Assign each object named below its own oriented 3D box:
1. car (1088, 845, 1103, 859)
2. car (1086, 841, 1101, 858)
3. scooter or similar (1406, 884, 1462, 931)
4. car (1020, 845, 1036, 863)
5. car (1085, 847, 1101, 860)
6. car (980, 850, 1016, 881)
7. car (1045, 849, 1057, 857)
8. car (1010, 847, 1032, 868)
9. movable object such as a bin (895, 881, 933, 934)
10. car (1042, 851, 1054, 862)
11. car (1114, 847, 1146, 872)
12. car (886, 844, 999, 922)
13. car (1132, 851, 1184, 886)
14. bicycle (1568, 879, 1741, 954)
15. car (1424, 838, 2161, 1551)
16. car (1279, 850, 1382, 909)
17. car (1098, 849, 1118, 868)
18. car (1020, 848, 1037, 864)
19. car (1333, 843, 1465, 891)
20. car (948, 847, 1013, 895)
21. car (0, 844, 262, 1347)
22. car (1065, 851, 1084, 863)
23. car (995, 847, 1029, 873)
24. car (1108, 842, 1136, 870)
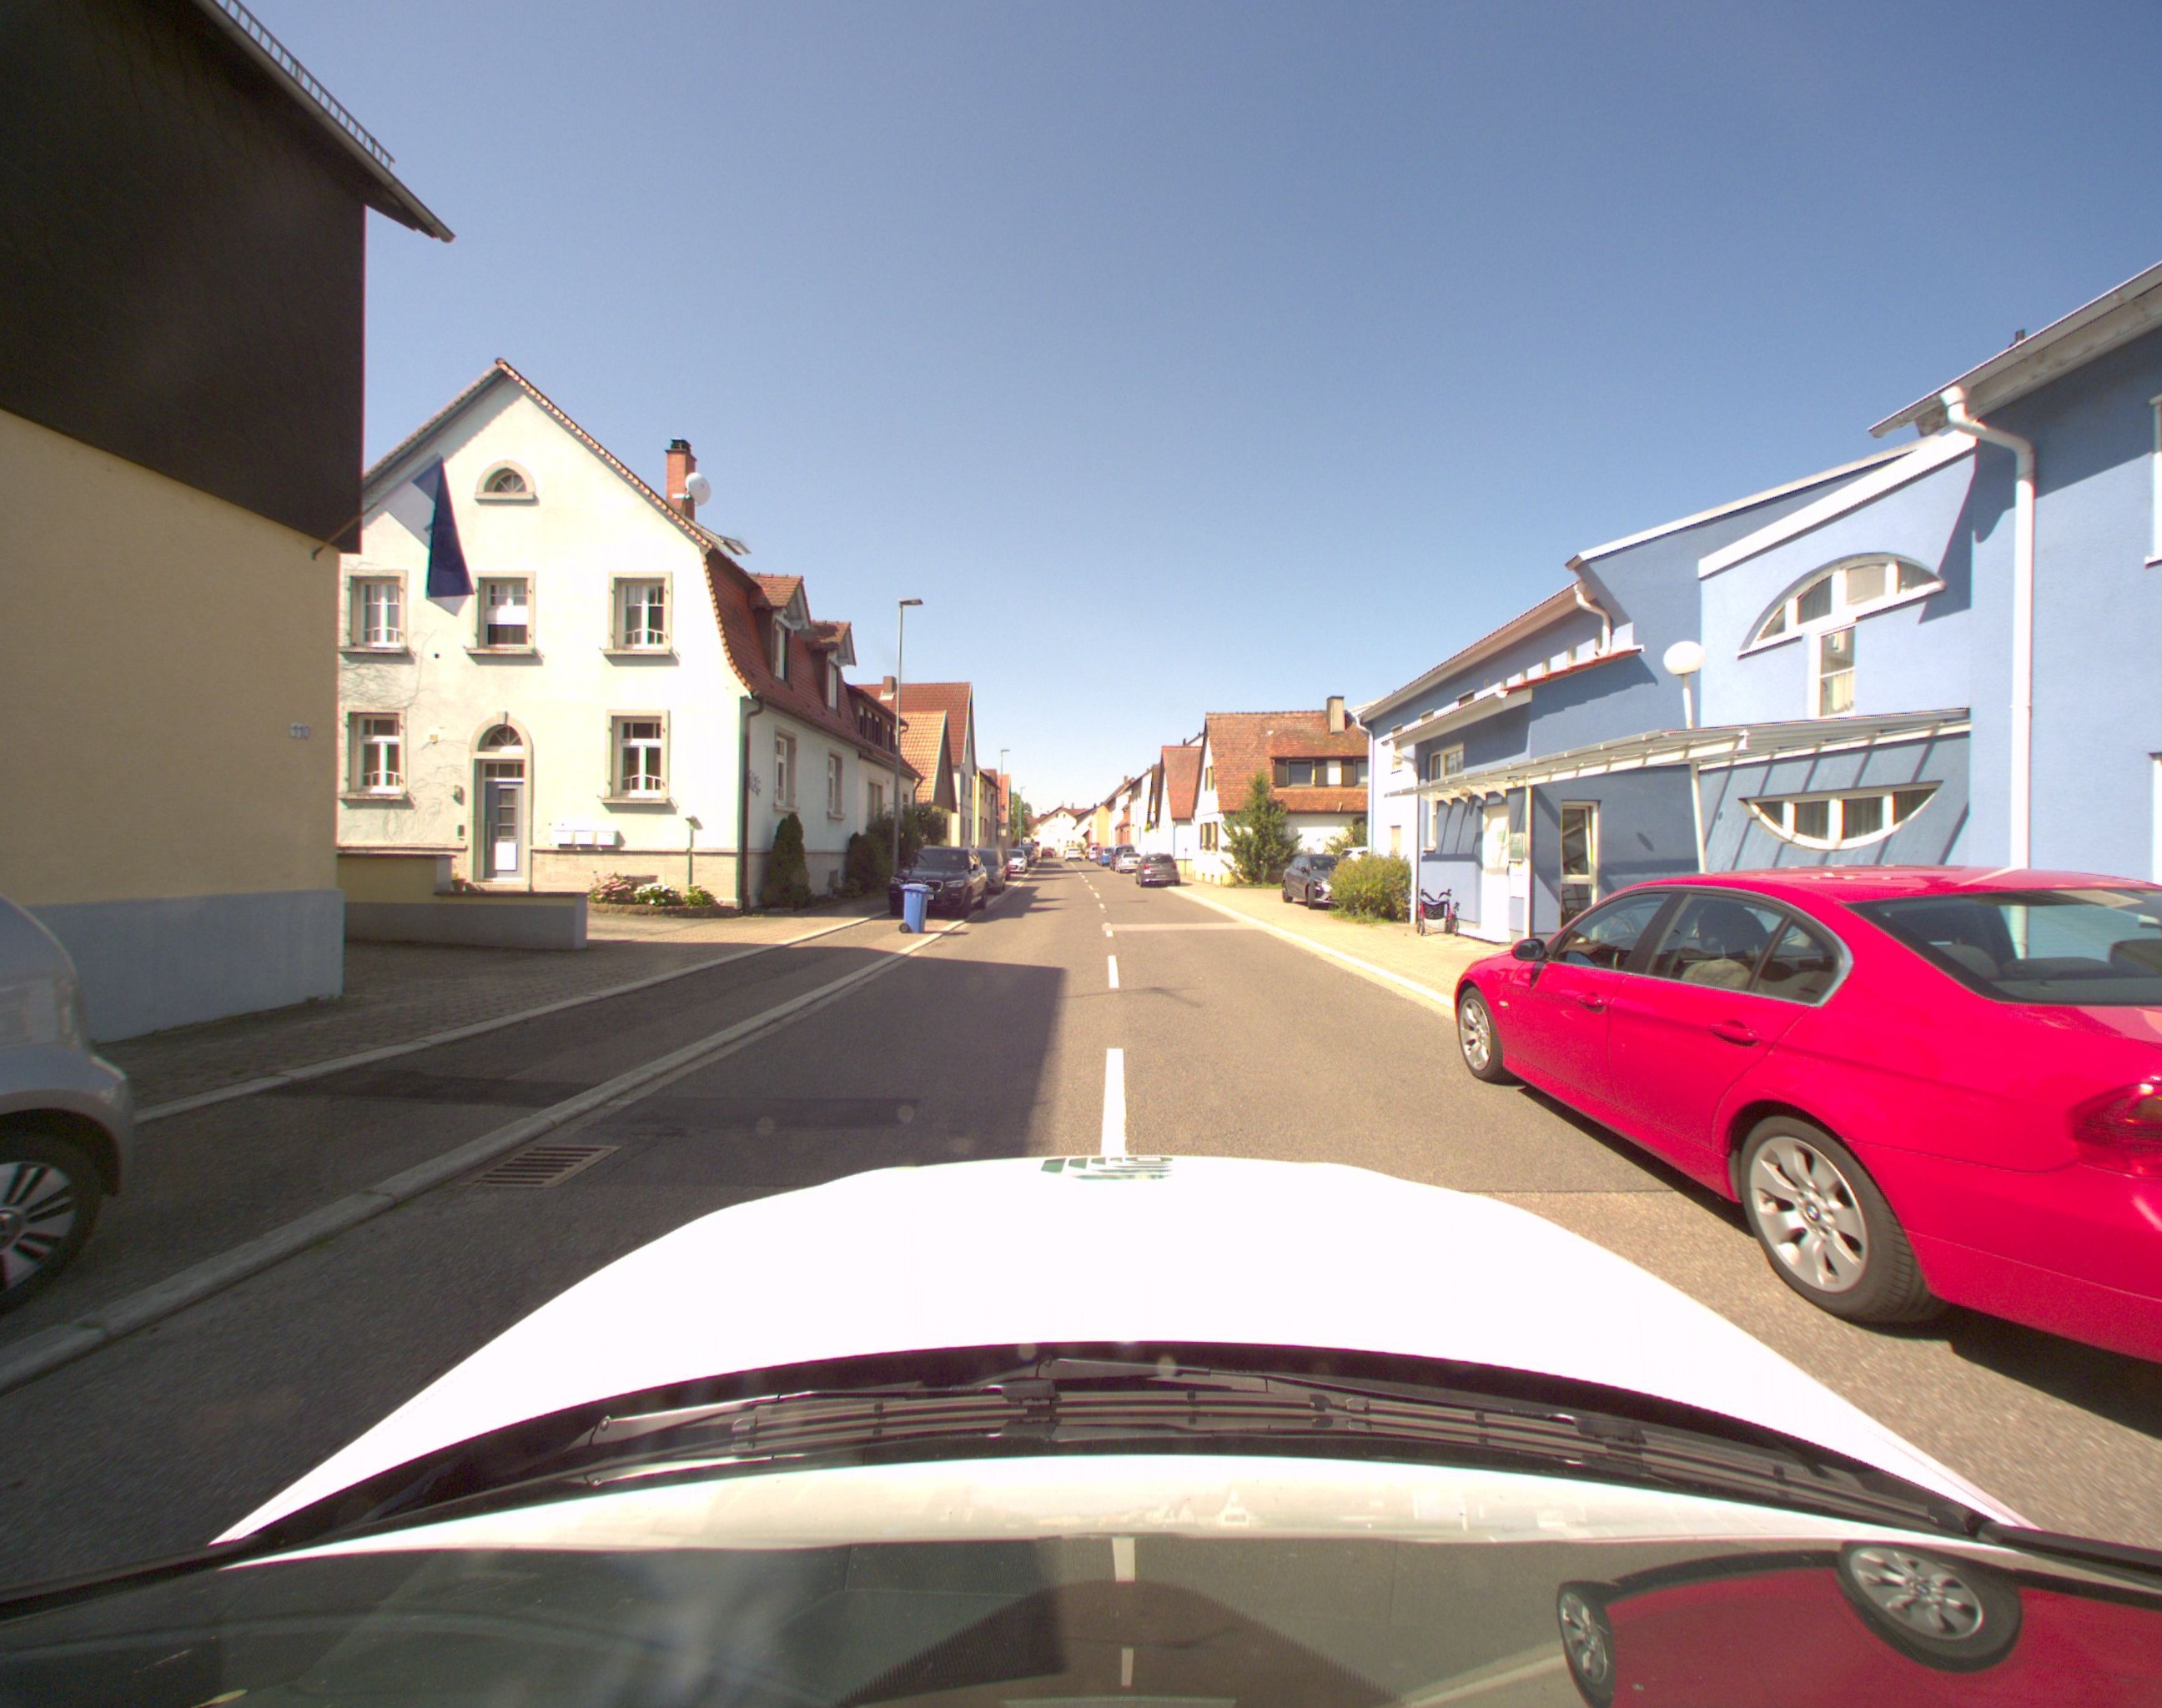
[{"bbox_3d":[1.499,-0.209,85.989,1.417,1.515,3.301,1,0,-2],"label":"car"},{"bbox_3d":[1.469,-0.495,99.120,1.762,2.004,3.448,0,0,-1],"label":"car"},{"bbox_3d":[6.481,0.977,14.975,0.724,0.814,0.829,0,0,6],"label":"scooter or similar"},{"bbox_3d":[-5.317,-0.022,81.713,1.523,1.713,3.622,1,0,-2],"label":"car"},{"bbox_3d":[1.391,-0.035,94.115,1.762,1.433,3.448,0,0,-1],"label":"car"},{"bbox_3d":[-4.253,0.563,42.070,1.548,1.544,2.986,1,0,-1],"label":"car"},{"bbox_3d":[-5.223,-0.137,143.058,1.988,1.288,3.800,0,0,-2],"label":"car"},{"bbox_3d":[-4.780,0.255,65.481,1.615,1.577,3.958,1,0,-2],"label":"car"},{"bbox_3d":[-3.222,1.020,15.715,0.594,0.982,0.531,1,0,0],"label":"movable object such as a bin"},{"bbox_3d":[-4.711,0.314,115.588,1.597,1.489,3.622,1,0,-2],"label":"car"},{"bbox_3d":[3.103,0.351,52.329,1.700,1.496,3.449,1,0,-3],"label":"car"},{"bbox_3d":[-3.361,0.664,20.665,1.913,1.668,4.666,2,0,1],"label":"car"},{"bbox_3d":[3.299,0.601,35.558,1.700,1.433,3.886,1,0,-2],"label":"car"},{"bbox_3d":[8.043,0.868,11.476,1.946,0.981,0.657,-1,0,3],"label":"bicycle"},{"bbox_3d":[3.298,0.691,3.875,1.725,1.494,4.359,-1,1,4],"label":"car"},{"bbox_3d":[6.690,0.639,22.256,1.683,1.420,4.147,1,0,2],"label":"car"},{"bbox_3d":[2.244,0.375,68.261,1.417,1.515,3.301,1,0,-2],"label":"car"},{"bbox_3d":[-4.874,0.201,75.986,1.500,1.453,3.506,0,0,-1],"label":"car"},{"bbox_3d":[11.469,0.468,29.592,4.155,1.657,1.814,0,0,4],"label":"car"},{"bbox_3d":[-3.683,0.571,30.593,1.867,1.636,4.662,1,0,-1],"label":"car"},{"bbox_3d":[-4.161,0.715,1.316,1.633,1.501,3.785,2,0,4],"label":"car"},{"bbox_3d":[-0.734,0.350,89.203,1.988,1.288,3.997,0,0,-2],"label":"car"},{"bbox_3d":[-4.331,0.363,51.943,1.801,1.547,4.402,1,0,-1],"label":"car"},{"bbox_3d":[2.837,0.122,57.230,1.645,1.910,3.622,1,0,-2],"label":"car"}]
